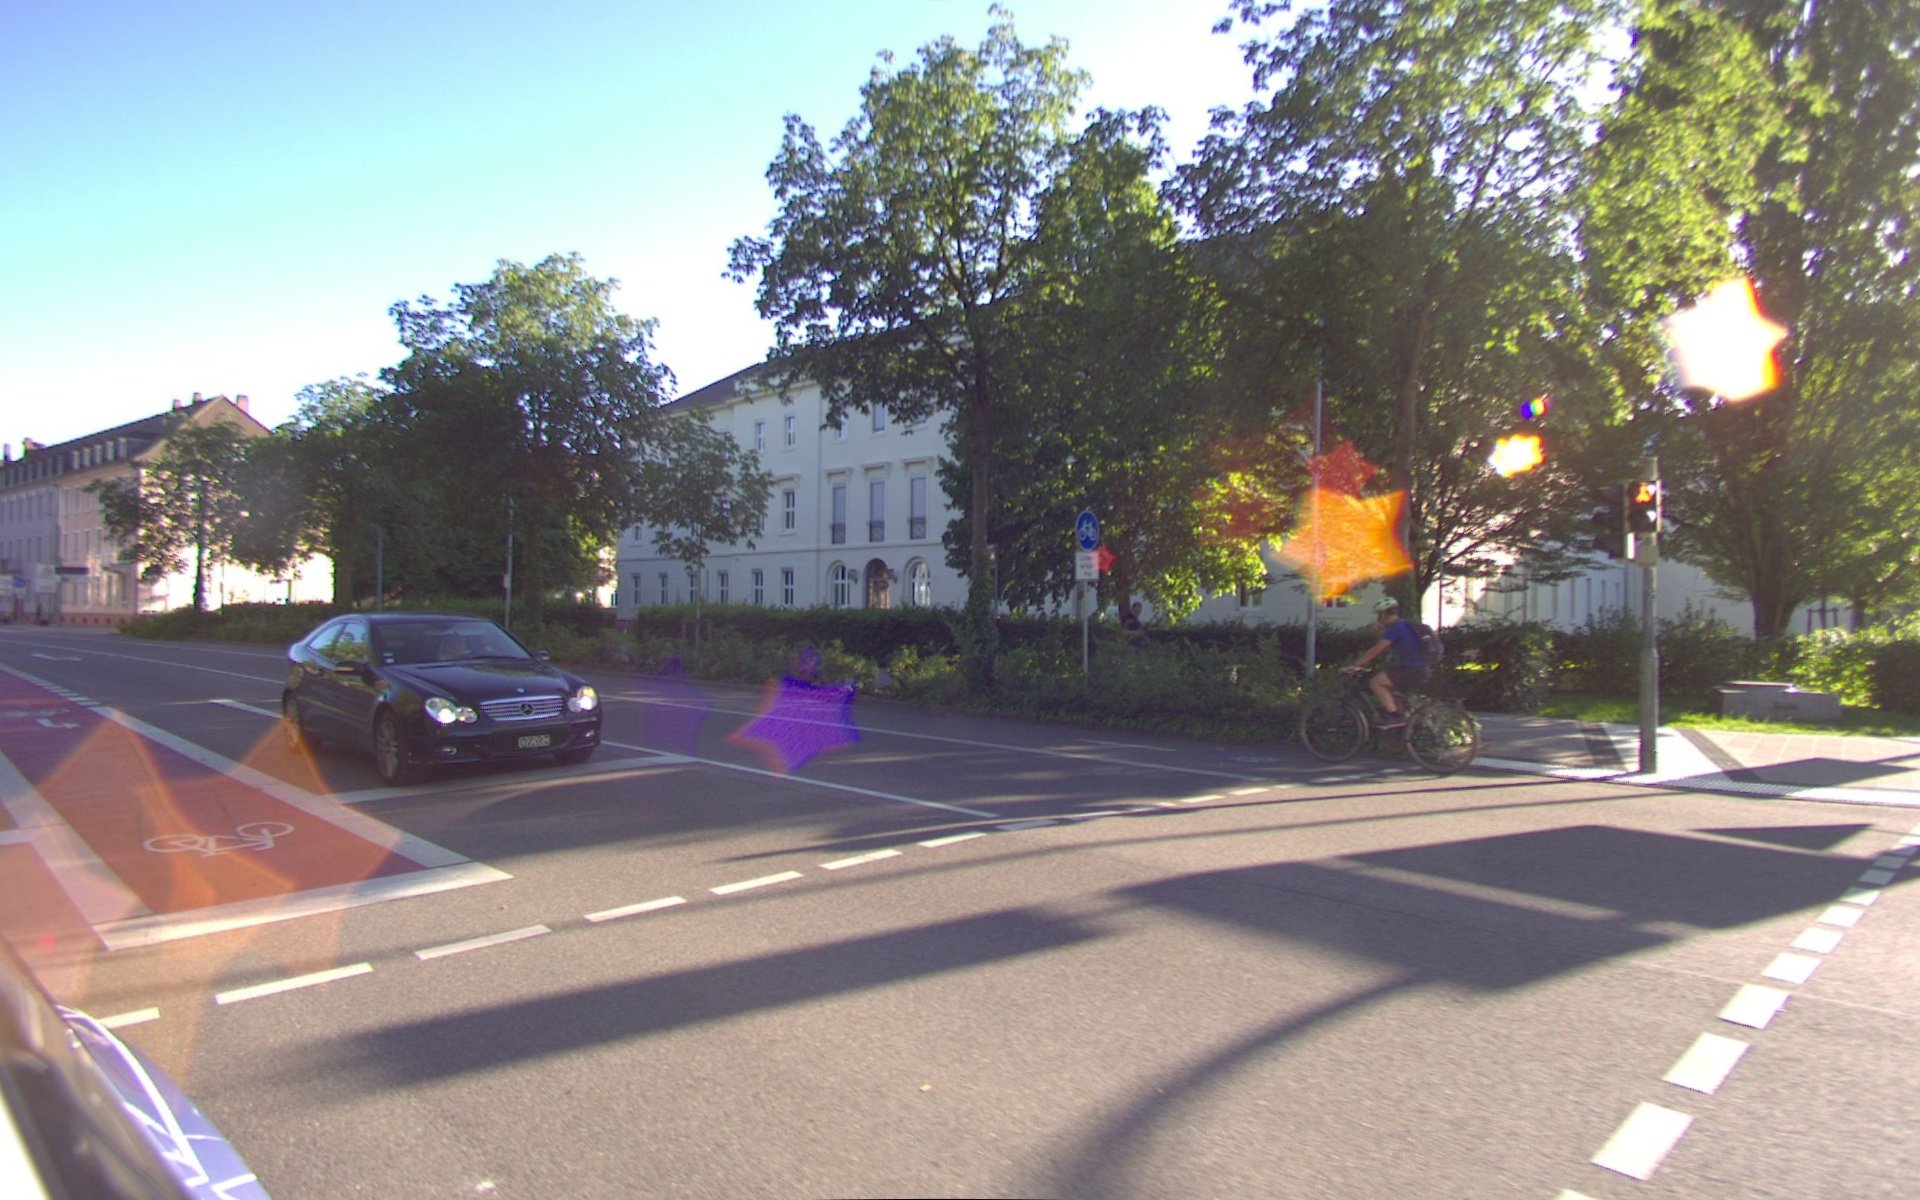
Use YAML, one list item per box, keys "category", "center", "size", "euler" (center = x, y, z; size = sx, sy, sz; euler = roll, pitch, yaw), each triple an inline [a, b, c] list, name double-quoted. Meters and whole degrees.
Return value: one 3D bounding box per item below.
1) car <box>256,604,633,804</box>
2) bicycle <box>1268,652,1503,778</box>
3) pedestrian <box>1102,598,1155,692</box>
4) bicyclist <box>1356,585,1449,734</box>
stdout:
- category: "car"
  center: [-5.042, 0.771, 9.578]
  size: [4.526, 1.428, 1.699]
  euler: [0, 1, 42]
- category: "bicycle"
  center: [4.438, 1.154, 10.650]
  size: [2.186, 1.125, 0.689]
  euler: [0, -2, 37]
- category: "pedestrian"
  center: [3.115, 0.820, 18.761]
  size: [0.681, 1.694, 0.681]
  euler: [2, -2, -39]
- category: "bicyclist"
  center: [4.619, 0.599, 10.554]
  size: [0.756, 1.477, 0.690]
  euler: [0, -2, 36]
